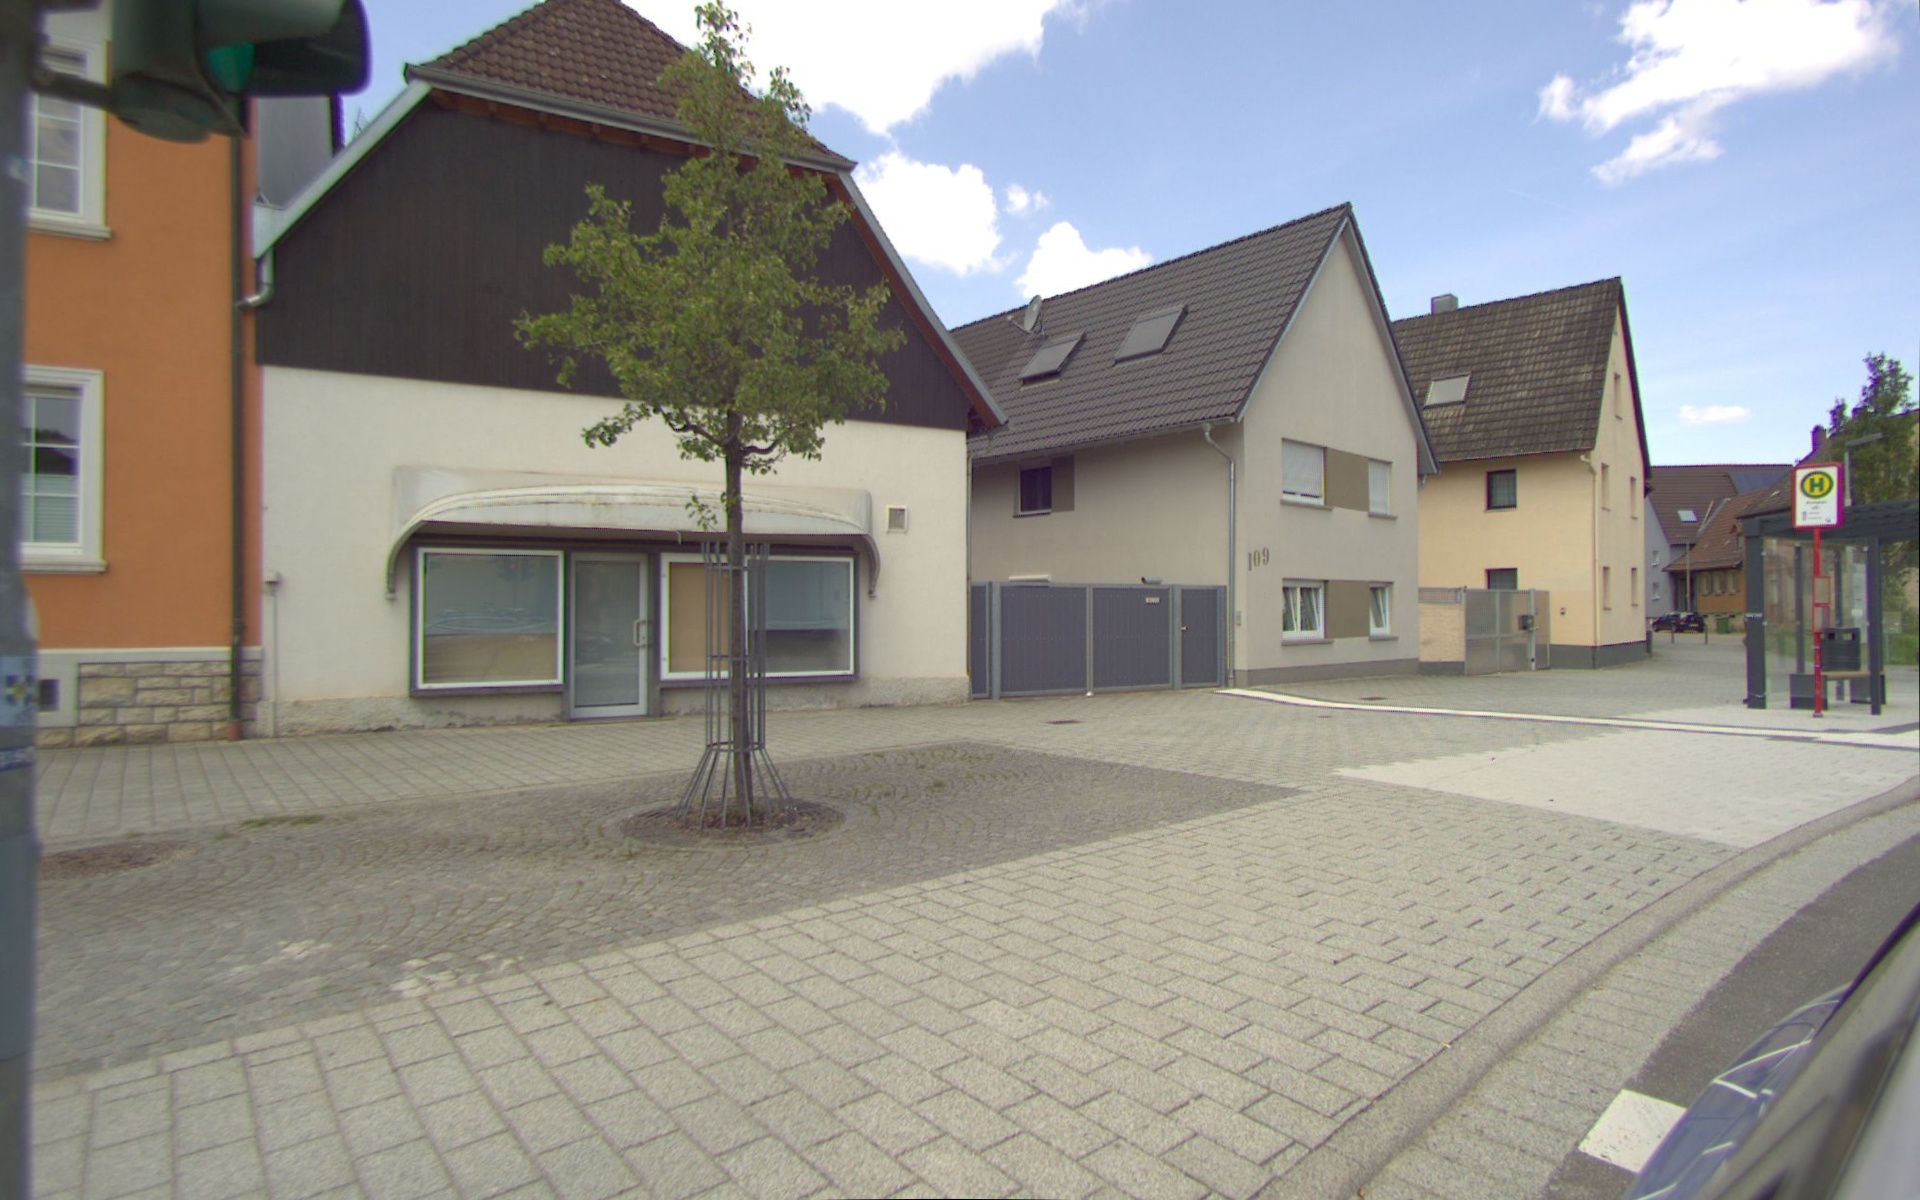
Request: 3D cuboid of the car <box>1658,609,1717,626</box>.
[{"bbox_3d":[47.424,1.138,66.024,1.777,1.073,3.981,0,0,15],"label":"car"}]
